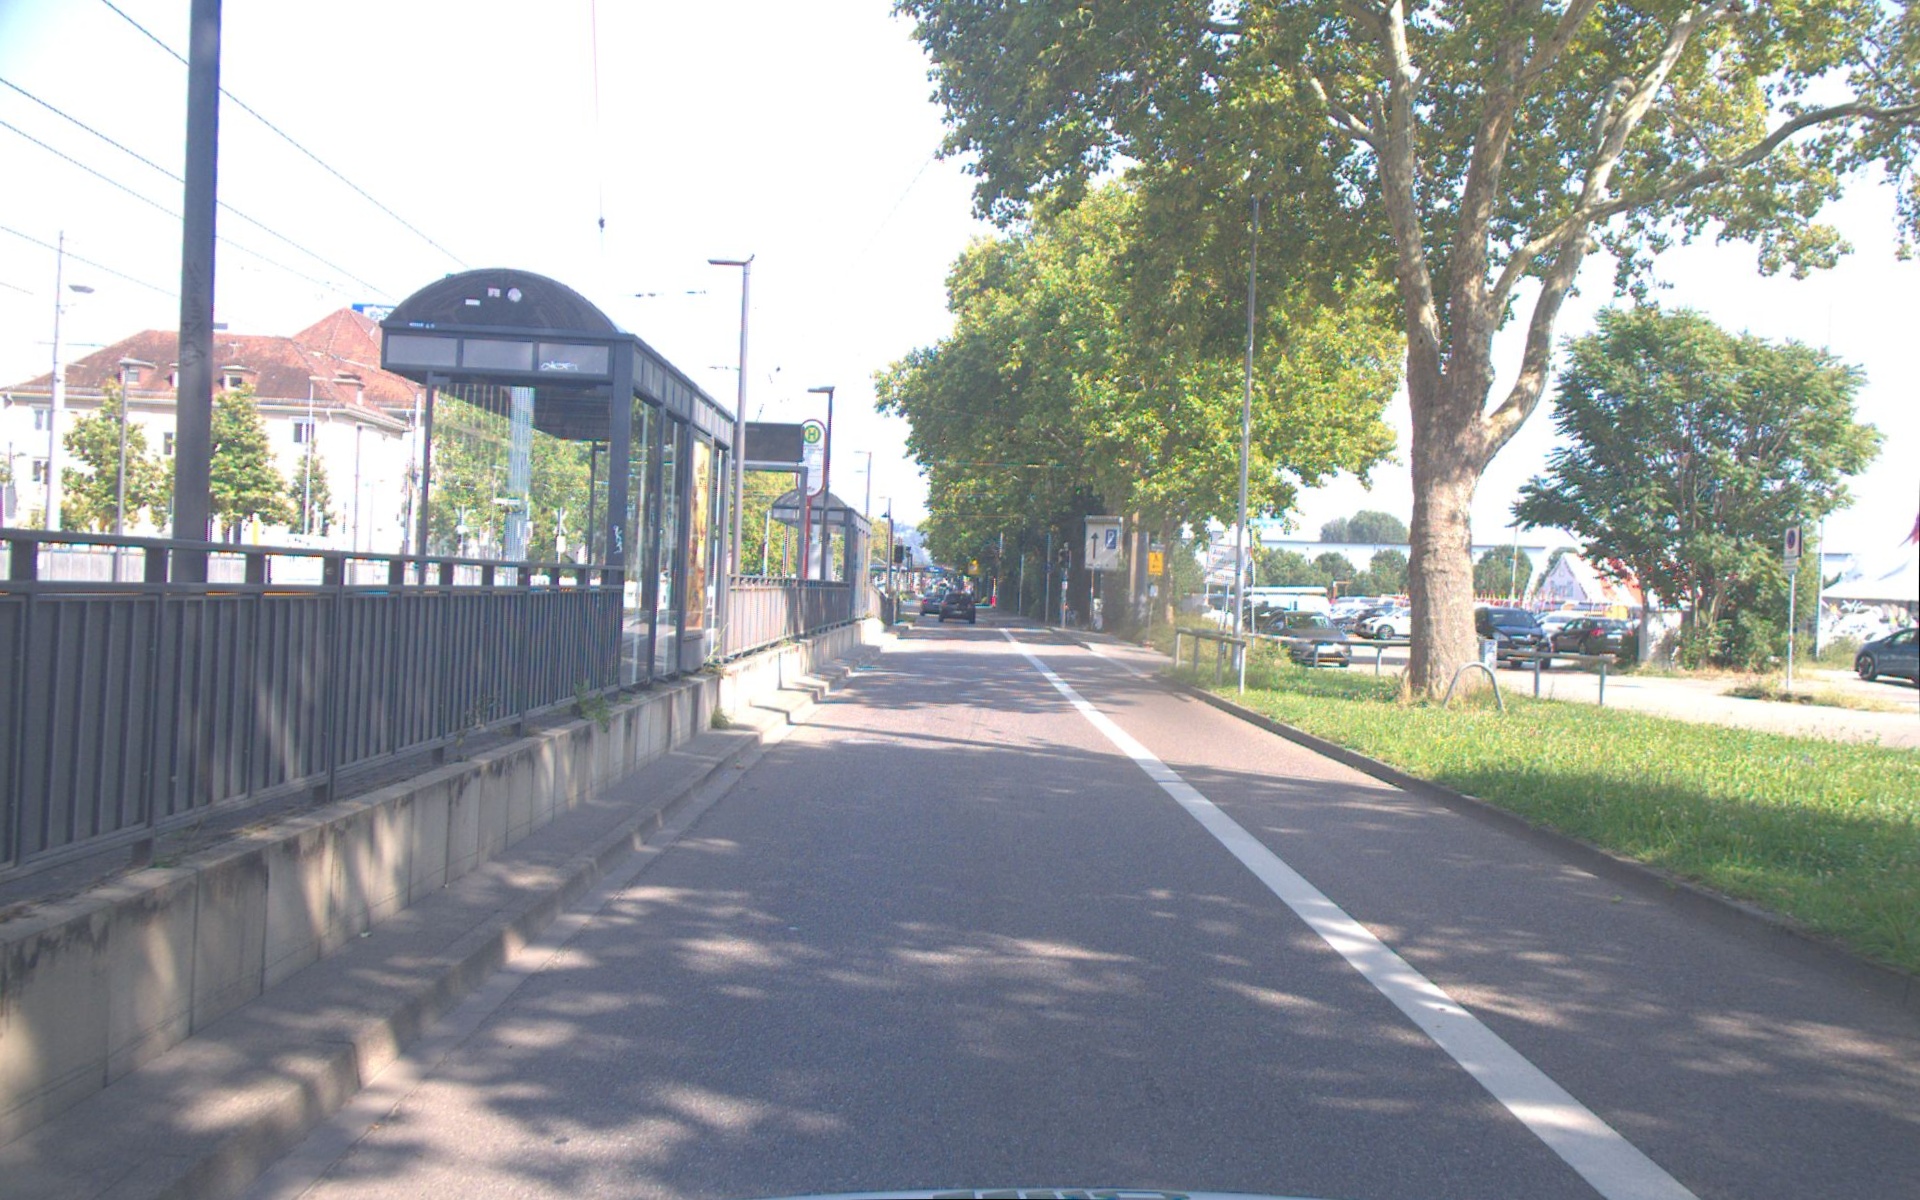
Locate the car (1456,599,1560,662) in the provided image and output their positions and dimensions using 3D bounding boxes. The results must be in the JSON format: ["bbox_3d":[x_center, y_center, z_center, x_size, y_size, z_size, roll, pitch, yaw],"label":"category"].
[{"bbox_3d":[15.229,0.803,46.157,1.575,1.603,3.796,1,1,-1],"label":"car"}]

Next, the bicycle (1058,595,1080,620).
[{"bbox_3d":[4.858,0.340,73.785,0.598,1.039,2.400,3,0,-5],"label":"bicycle"}]

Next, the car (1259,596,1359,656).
[{"bbox_3d":[9.440,0.665,45.037,1.693,1.474,4.550,1,1,-1],"label":"car"}]

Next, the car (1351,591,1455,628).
[{"bbox_3d":[20.623,0.430,77.145,4.257,1.489,1.946,3,0,-3],"label":"car"}]

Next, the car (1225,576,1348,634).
[{"bbox_3d":[11.504,0.154,58.429,4.018,1.952,1.848,1,1,2],"label":"car"}]

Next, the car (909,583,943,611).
[{"bbox_3d":[-2.046,-0.196,99.143,1.933,1.564,3.999,-1,1,-2],"label":"car"}]

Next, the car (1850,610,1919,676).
[{"bbox_3d":[25.274,1.172,43.103,1.671,1.602,3.952,3,1,-6],"label":"car"}]

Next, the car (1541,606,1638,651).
[{"bbox_3d":[22.393,0.984,58.979,1.777,1.420,4.116,3,1,-1],"label":"car"}]

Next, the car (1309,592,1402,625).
[{"bbox_3d":[20.512,0.430,85.842,4.257,1.489,1.946,3,0,-3],"label":"car"}]

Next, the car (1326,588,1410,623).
[{"bbox_3d":[23.311,0.312,94.538,4.257,1.742,1.946,3,0,-3],"label":"car"}]

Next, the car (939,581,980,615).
[{"bbox_3d":[-0.045,-0.102,79.622,1.869,1.564,3.999,1,1,-2],"label":"car"}]
